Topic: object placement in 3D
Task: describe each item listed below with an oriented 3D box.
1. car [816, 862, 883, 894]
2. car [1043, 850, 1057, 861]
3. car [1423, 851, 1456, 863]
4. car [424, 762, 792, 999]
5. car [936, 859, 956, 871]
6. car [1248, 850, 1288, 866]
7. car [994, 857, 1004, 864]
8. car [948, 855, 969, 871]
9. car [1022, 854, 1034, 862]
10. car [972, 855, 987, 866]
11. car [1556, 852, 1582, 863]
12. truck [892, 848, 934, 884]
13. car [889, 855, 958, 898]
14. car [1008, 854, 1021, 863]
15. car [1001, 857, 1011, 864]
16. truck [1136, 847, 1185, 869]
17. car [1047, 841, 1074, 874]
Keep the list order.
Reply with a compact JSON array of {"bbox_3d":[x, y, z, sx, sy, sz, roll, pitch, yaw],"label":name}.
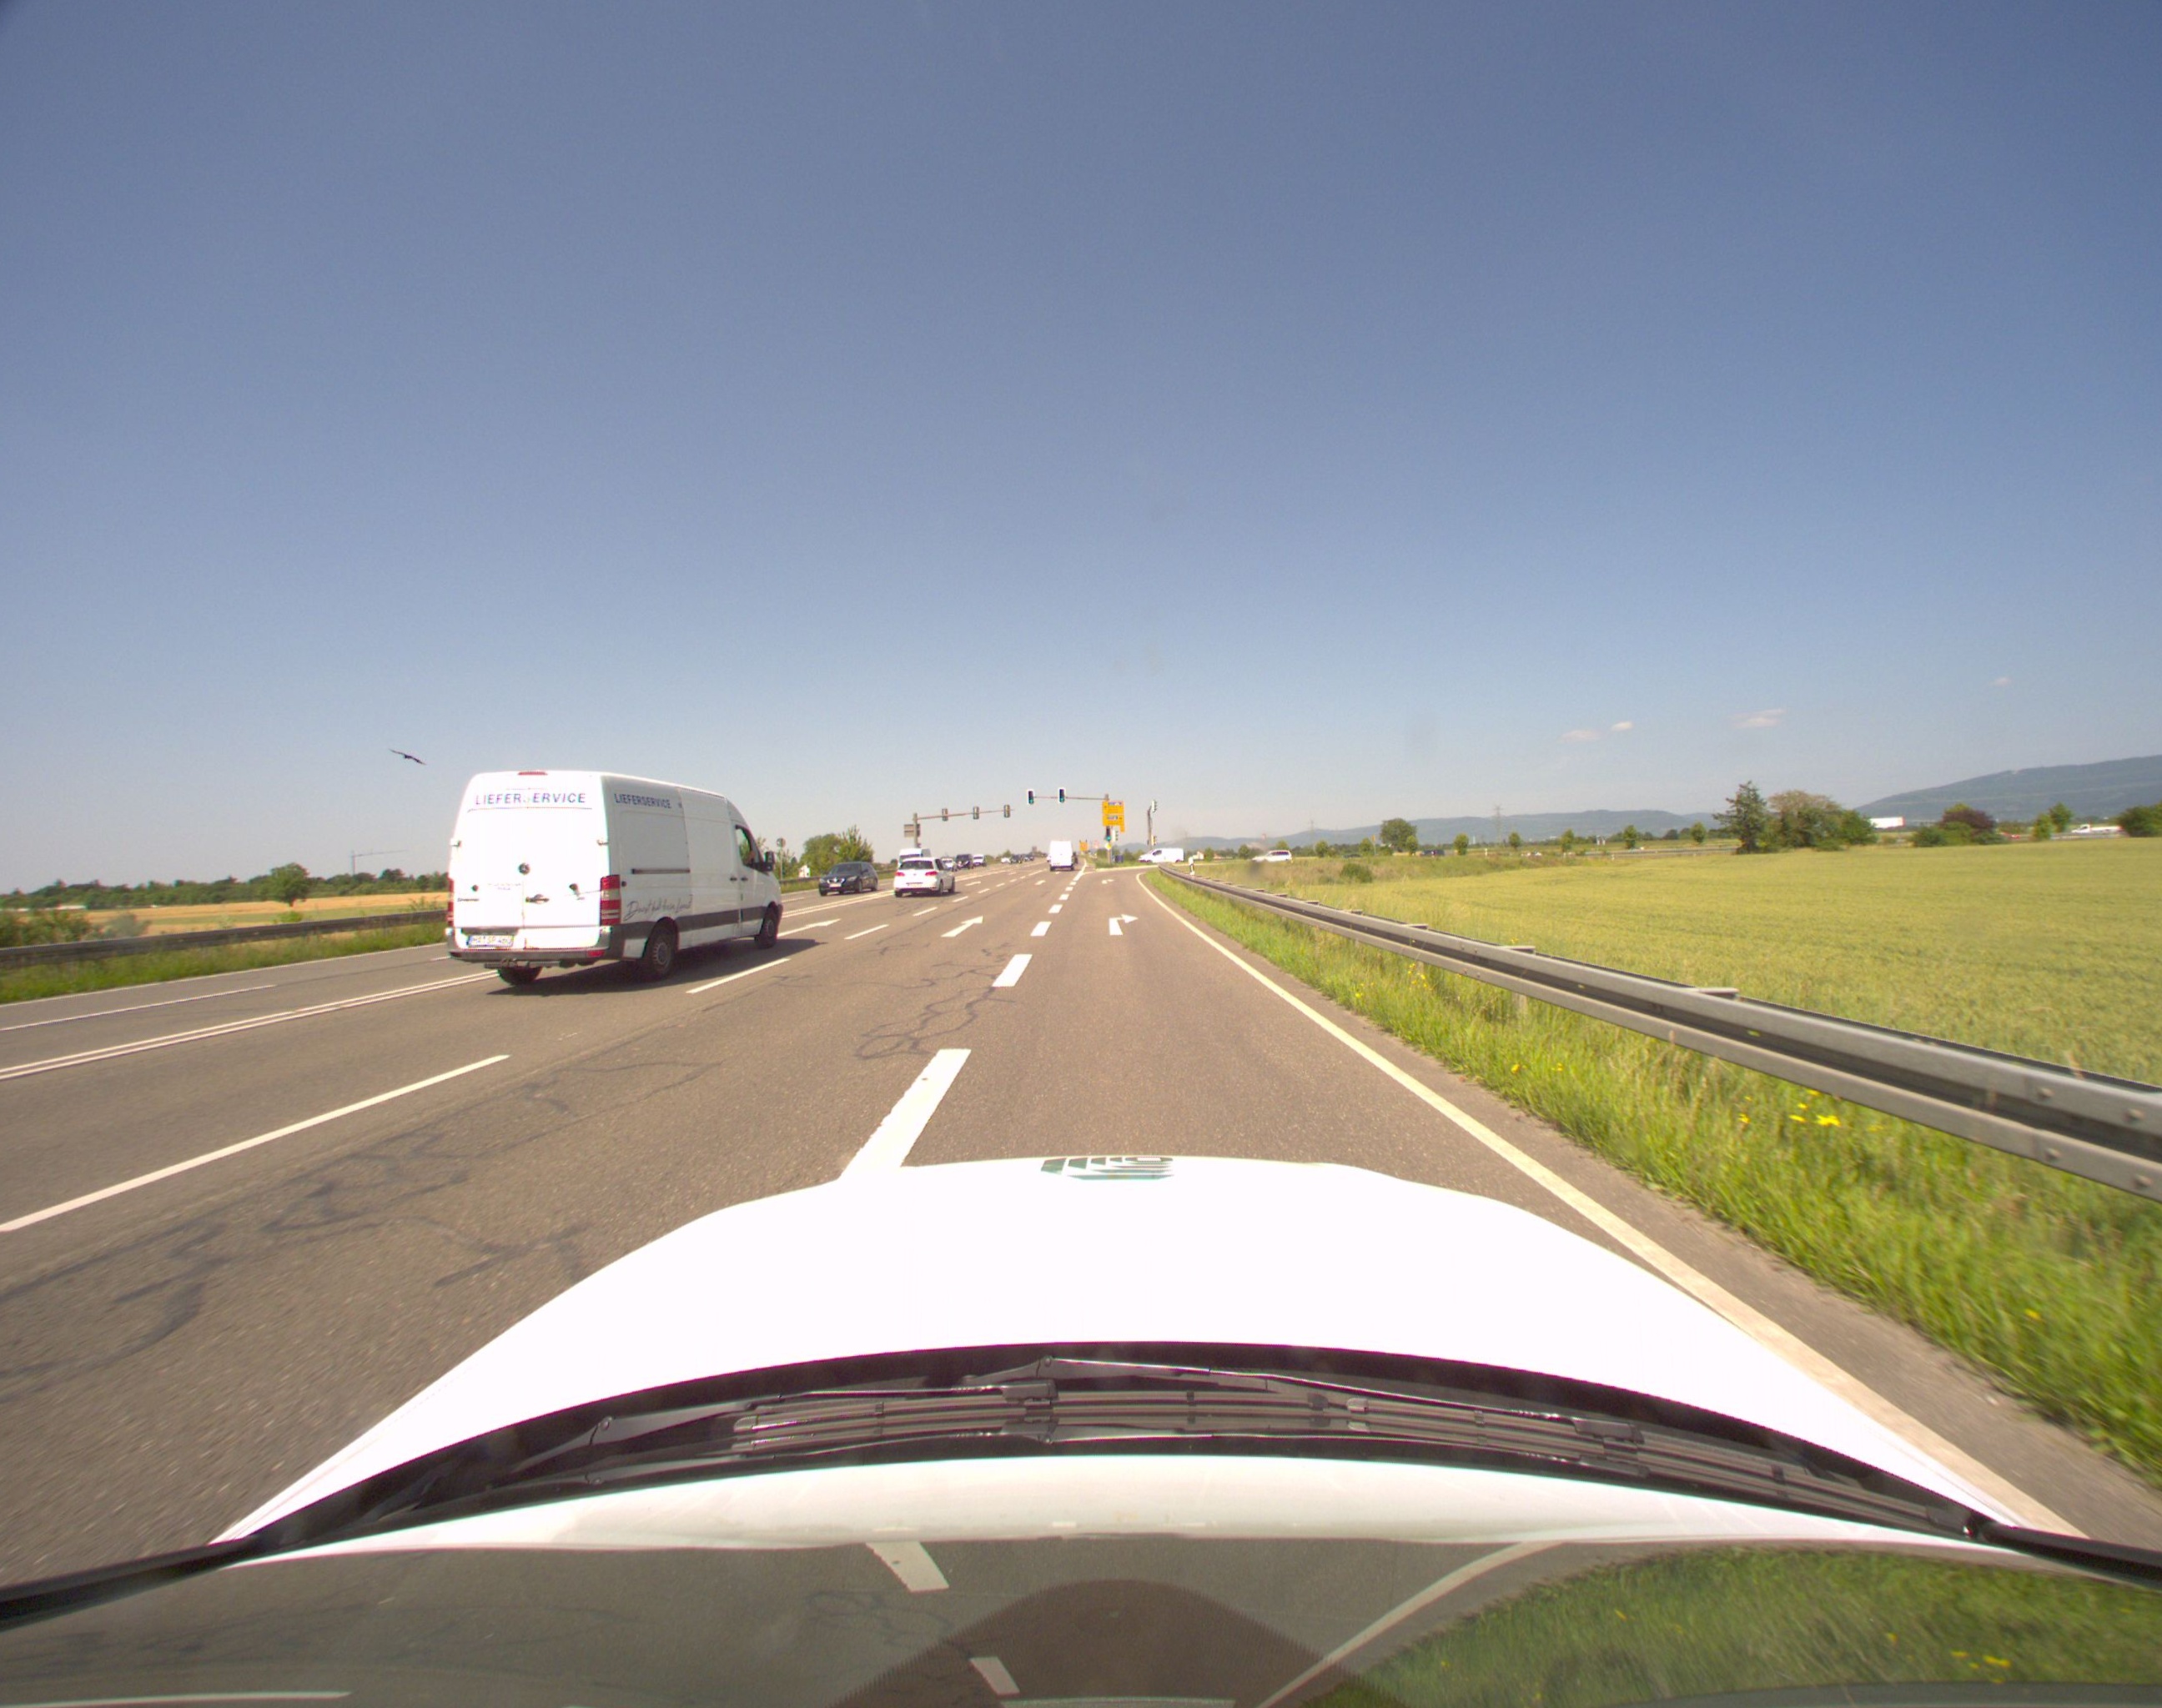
[{"bbox_3d":[-10.806,1.110,38.224,1.850,1.423,4.001,-1,-1,2],"label":"car"},{"bbox_3d":[-4.993,0.230,133.083,1.986,1.703,4.275,-1,-1,1],"label":"car"},{"bbox_3d":[42.661,0.353,96.879,3.488,1.486,1.637,0,-2,-23],"label":"car"},{"bbox_3d":[-6.339,0.278,12.030,2.033,2.620,5.740,-1,0,0],"label":"car"},{"bbox_3d":[-14.784,1.182,89.335,1.457,1.274,3.334,-1,-1,2],"label":"car"},{"bbox_3d":[21.030,0.458,91.587,4.004,1.684,1.985,0,-2,-23],"label":"car"},{"bbox_3d":[-16.564,1.374,164.273,1.457,1.274,3.334,-1,-1,2],"label":"car"},{"bbox_3d":[-15.097,1.143,100.473,1.866,1.887,3.334,-1,-1,2],"label":"car"},{"bbox_3d":[-10.968,0.825,168.294,1.984,1.618,4.004,-1,-1,4],"label":"car"},{"bbox_3d":[-14.655,0.962,117.285,1.596,1.582,3.334,-1,-1,2],"label":"car"},{"bbox_3d":[68.780,0.487,114.789,3.494,1.486,1.634,0,-2,-30],"label":"car"},{"bbox_3d":[-14.493,1.058,70.507,2.288,2.957,5.285,-1,-1,2],"label":"truck"},{"bbox_3d":[-6.059,0.823,31.782,1.793,1.508,4.196,-2,0,0],"label":"car"},{"bbox_3d":[-11.041,0.802,135.069,1.628,1.486,4.004,-1,-1,4],"label":"car"},{"bbox_3d":[-14.378,1.204,157.031,1.457,1.274,3.334,-1,-1,2],"label":"car"},{"bbox_3d":[8.601,0.464,88.371,4.851,2.320,1.990,0,-1,-14],"label":"truck"},{"bbox_3d":[-1.695,0.303,69.154,1.987,2.695,4.969,-1,-1,0],"label":"car"}]
